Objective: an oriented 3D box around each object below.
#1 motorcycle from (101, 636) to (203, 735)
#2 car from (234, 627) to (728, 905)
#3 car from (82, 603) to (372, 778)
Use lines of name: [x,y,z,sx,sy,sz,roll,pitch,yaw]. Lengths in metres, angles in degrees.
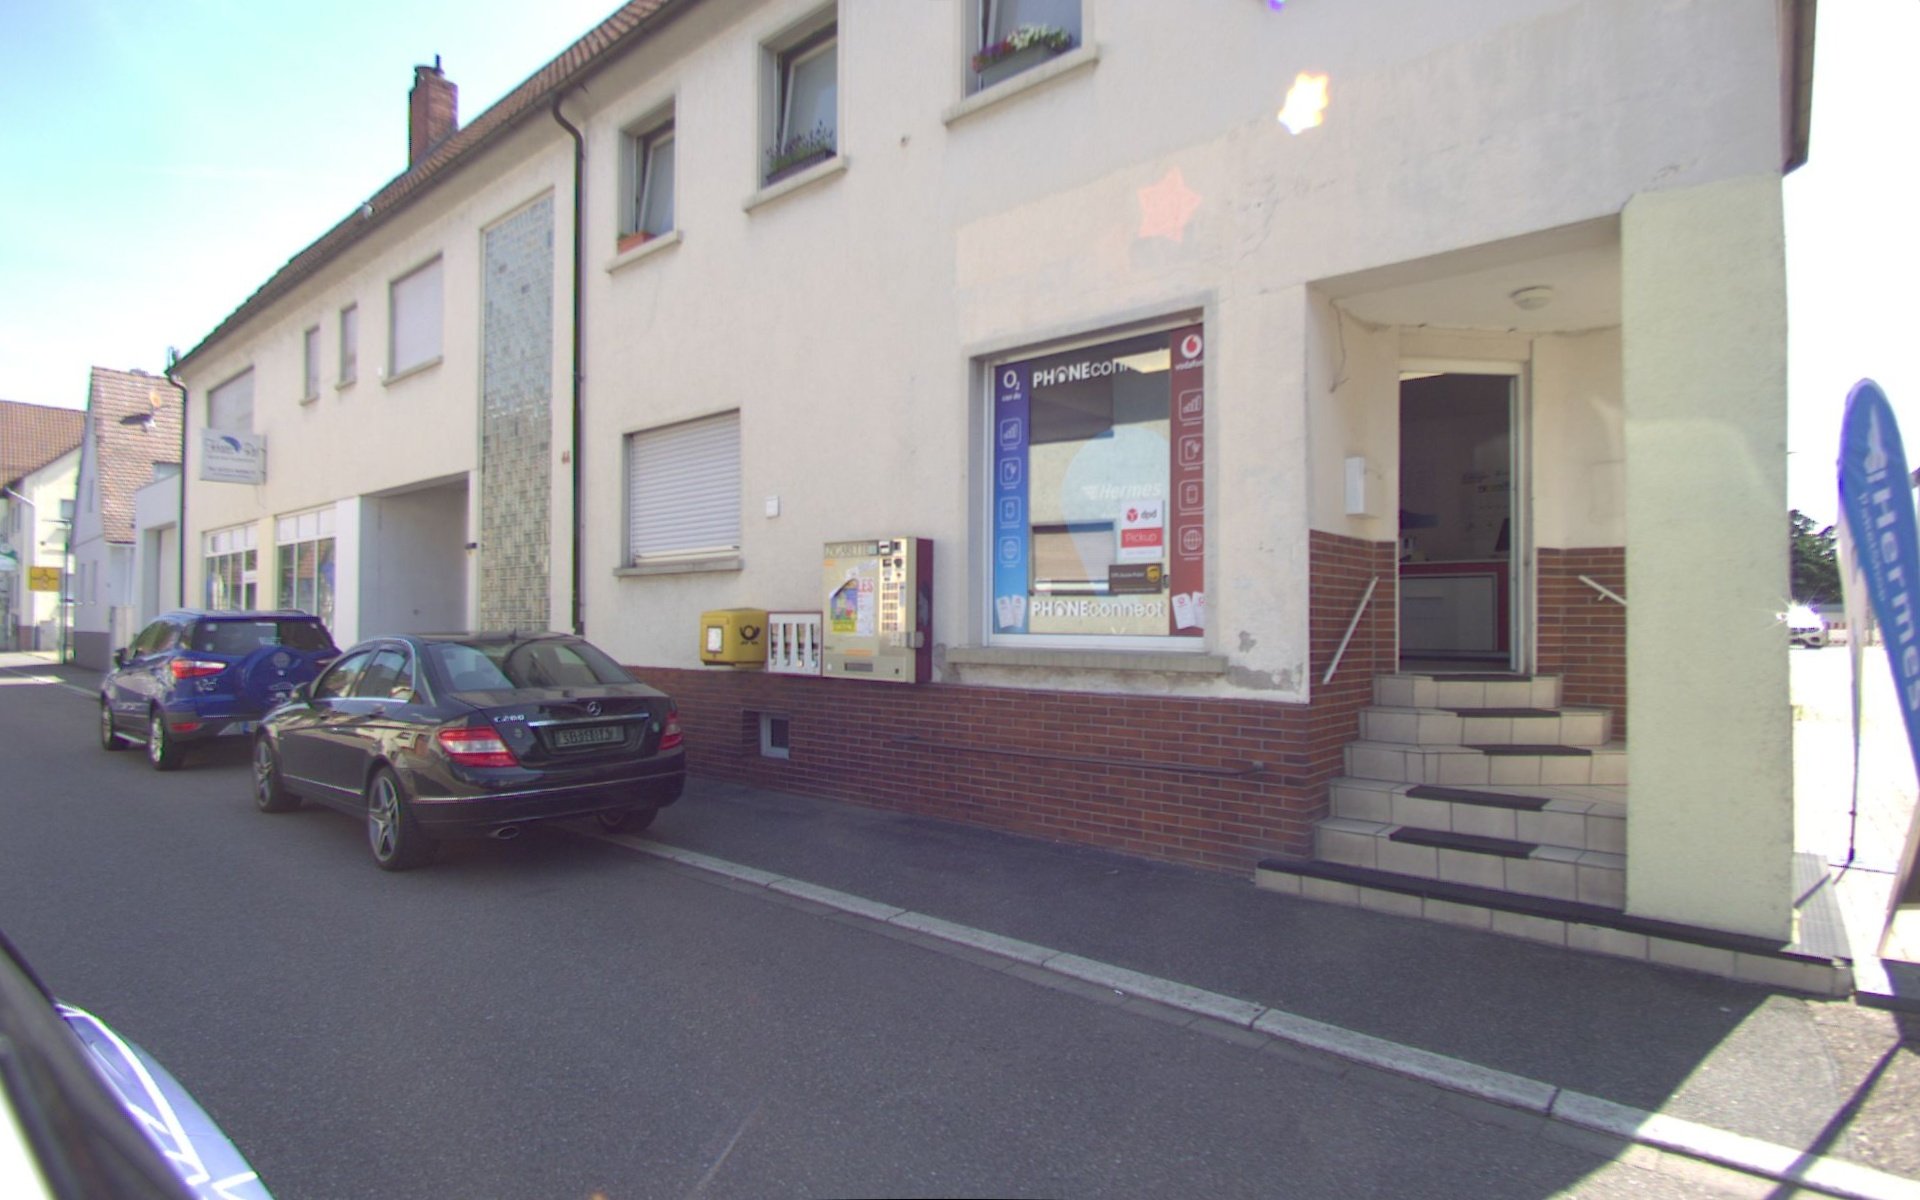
motorcycle: [-11.905,1.211,14.893,2.104,1.322,0.800,-1,-2,41]
car: [-3.677,0.913,7.350,4.388,1.422,1.679,-1,-2,42]
car: [-8.483,0.926,11.583,4.146,1.652,1.699,-1,-4,40]
